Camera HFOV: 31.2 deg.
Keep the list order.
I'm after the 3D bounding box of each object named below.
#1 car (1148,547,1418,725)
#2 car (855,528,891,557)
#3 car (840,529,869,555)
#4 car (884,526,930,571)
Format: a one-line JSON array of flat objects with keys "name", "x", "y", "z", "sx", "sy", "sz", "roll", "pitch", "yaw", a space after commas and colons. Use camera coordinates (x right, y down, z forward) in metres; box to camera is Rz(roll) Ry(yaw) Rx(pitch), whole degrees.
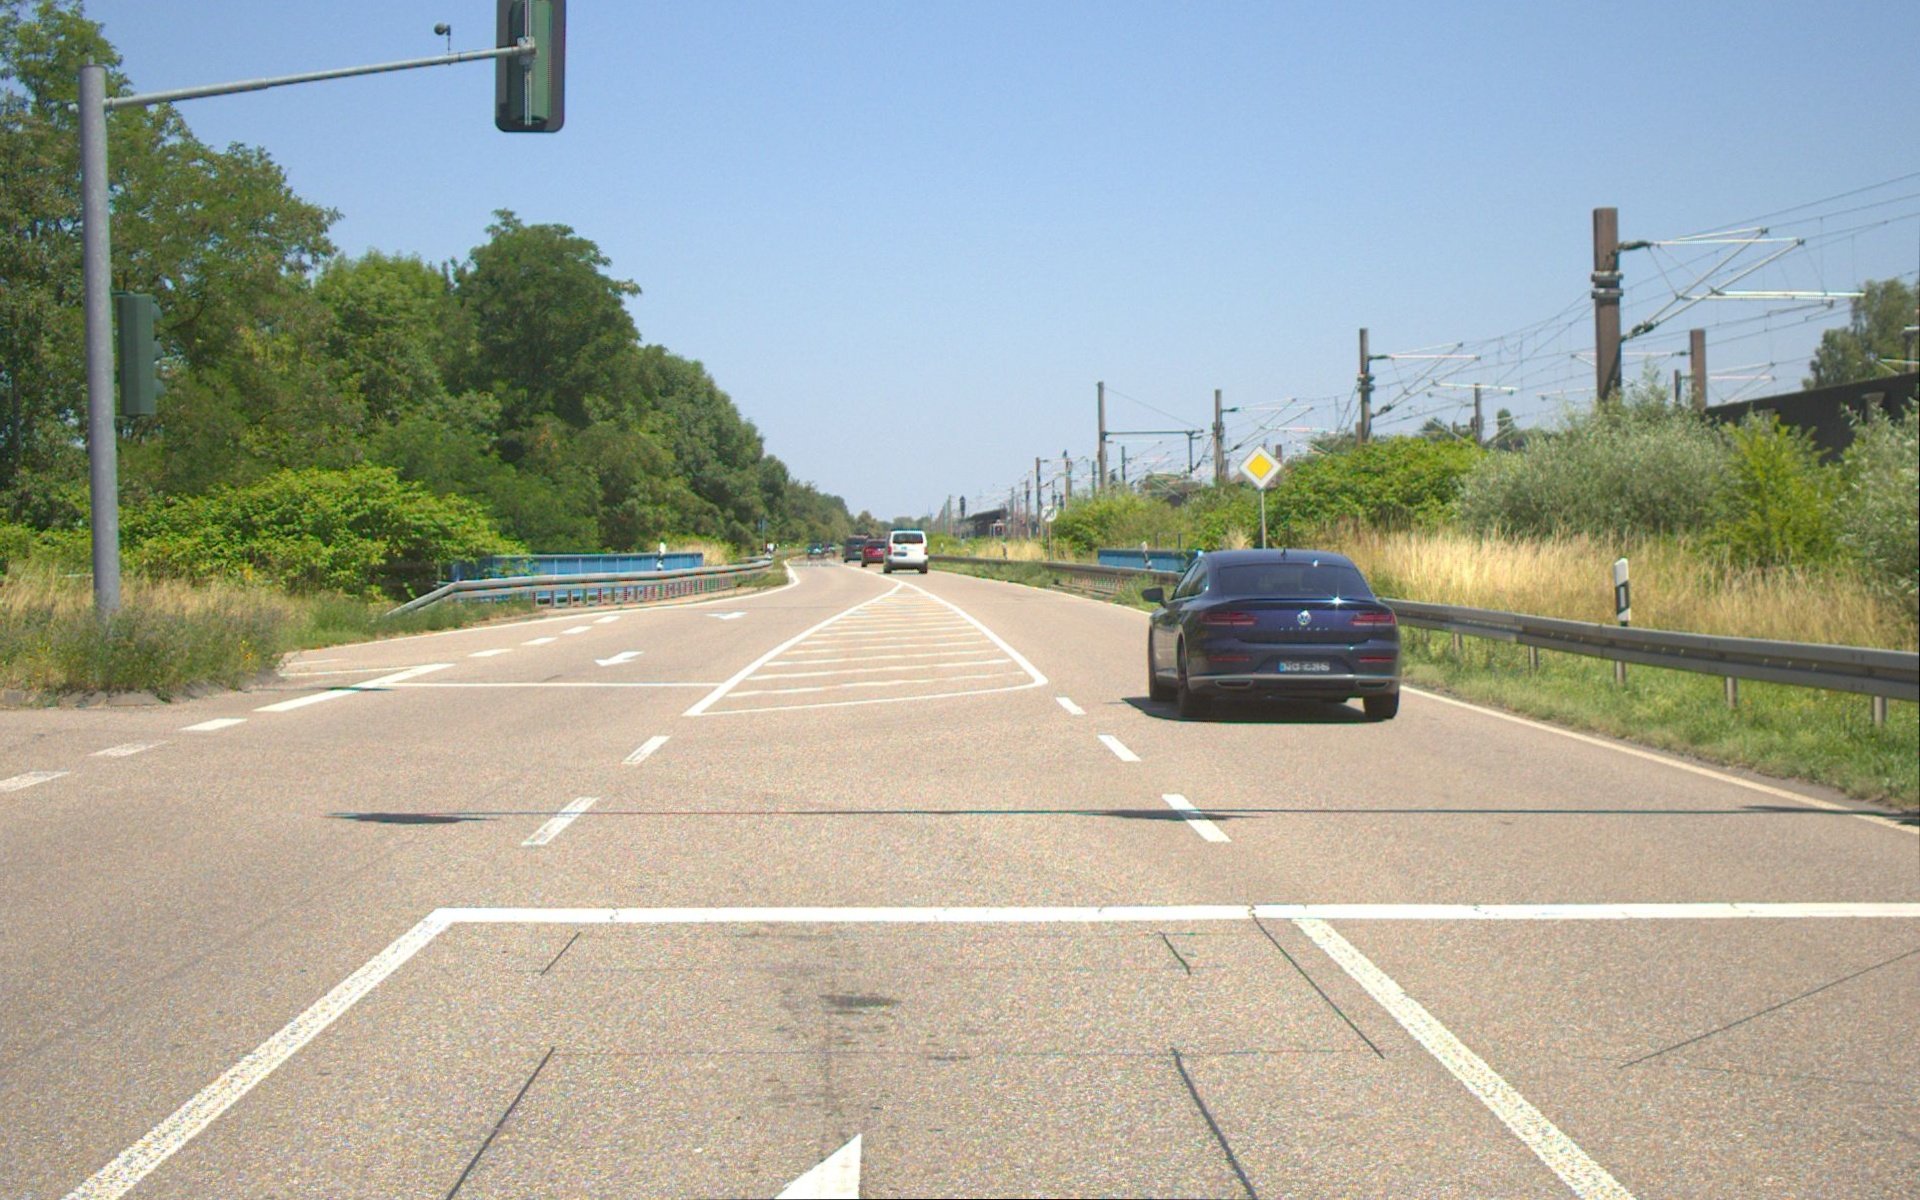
[{"name": "car", "x": 2.725, "y": 0.255, "z": 29.916, "sx": 1.856, "sy": 1.375, "sz": 4.504, "roll": 1, "pitch": 1, "yaw": -1}, {"name": "car", "x": -5.182, "y": -3.413, "z": 203.867, "sx": 2.019, "sy": 1.720, "sz": 4.543, "roll": 0, "pitch": 1, "yaw": -3}, {"name": "car", "x": -8.037, "y": -4.412, "z": 261.548, "sx": 2.154, "sy": 1.961, "sz": 4.543, "roll": 0, "pitch": 1, "yaw": -3}, {"name": "car", "x": -2.401, "y": -2.332, "z": 155.755, "sx": 1.993, "sy": 1.977, "sz": 4.060, "roll": 1, "pitch": 1, "yaw": -2}]
